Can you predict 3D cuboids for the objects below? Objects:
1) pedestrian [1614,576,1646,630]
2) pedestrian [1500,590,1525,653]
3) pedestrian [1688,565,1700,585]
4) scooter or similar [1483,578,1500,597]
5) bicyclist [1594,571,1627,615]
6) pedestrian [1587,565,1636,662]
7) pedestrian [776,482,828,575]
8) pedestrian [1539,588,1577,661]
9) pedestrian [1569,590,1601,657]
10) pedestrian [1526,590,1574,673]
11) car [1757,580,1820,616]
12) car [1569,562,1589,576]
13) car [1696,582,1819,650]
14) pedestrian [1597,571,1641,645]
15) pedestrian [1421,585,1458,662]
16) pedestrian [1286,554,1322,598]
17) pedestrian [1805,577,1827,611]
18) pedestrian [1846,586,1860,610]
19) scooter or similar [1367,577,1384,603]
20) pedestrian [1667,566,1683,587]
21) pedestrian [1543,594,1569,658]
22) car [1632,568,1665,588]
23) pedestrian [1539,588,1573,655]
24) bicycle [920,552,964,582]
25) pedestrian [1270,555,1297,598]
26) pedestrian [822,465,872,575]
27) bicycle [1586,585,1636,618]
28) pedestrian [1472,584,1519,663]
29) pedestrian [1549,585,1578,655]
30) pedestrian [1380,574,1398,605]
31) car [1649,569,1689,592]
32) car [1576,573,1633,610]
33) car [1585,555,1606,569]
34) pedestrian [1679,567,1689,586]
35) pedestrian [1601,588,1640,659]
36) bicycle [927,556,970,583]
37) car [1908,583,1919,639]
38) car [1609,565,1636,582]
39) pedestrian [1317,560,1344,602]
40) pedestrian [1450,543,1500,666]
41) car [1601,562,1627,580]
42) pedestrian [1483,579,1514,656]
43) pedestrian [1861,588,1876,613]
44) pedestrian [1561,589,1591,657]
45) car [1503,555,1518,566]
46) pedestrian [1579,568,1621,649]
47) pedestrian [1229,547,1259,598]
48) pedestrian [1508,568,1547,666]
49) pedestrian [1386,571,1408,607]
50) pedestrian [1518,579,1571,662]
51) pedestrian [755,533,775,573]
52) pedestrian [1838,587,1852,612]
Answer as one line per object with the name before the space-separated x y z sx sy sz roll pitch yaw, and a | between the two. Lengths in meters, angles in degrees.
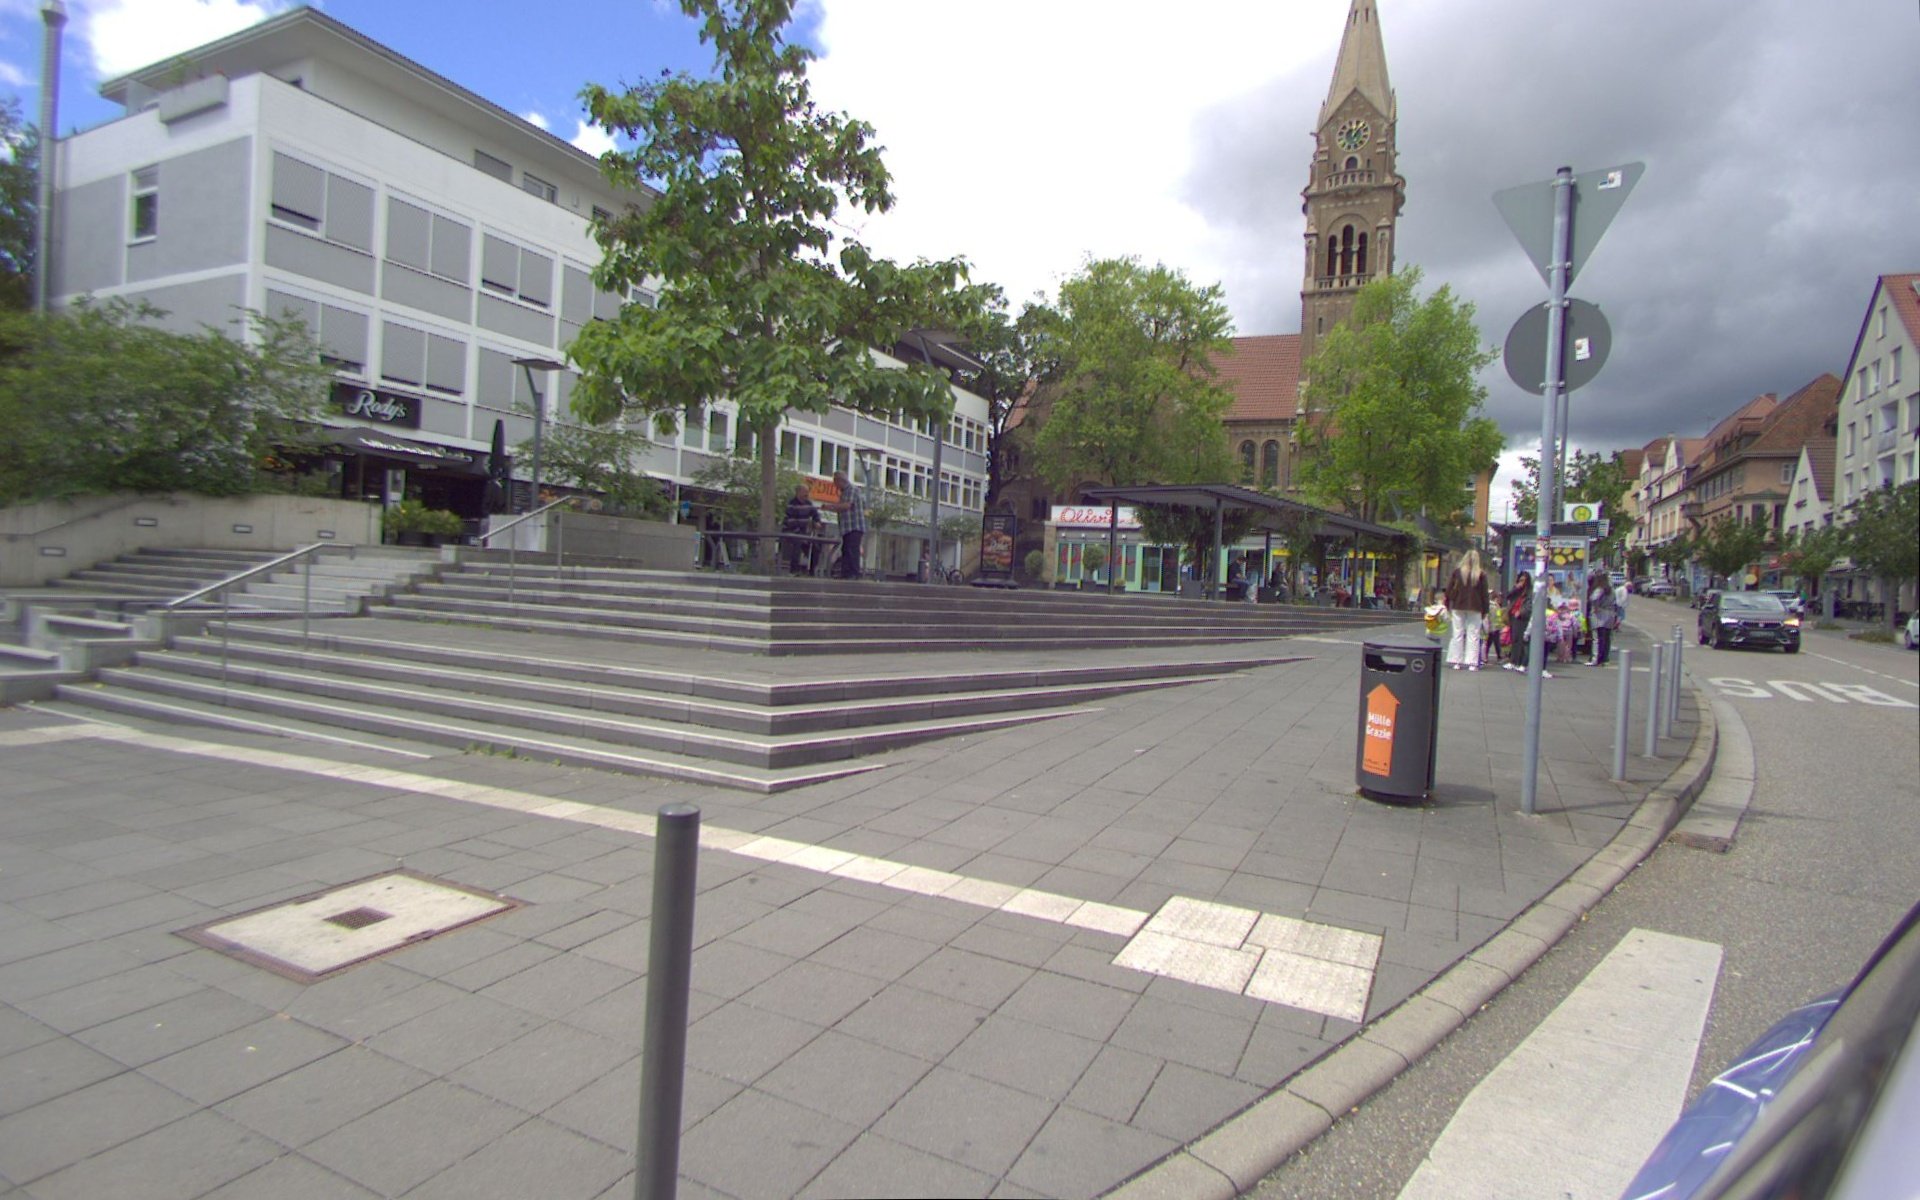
pedestrian | 21.772 0.087 32.898 0.685 1.702 0.703 4 2 43
pedestrian | 9.729 0.371 17.821 0.250 1.082 0.248 6 3 43
pedestrian | 60.582 -2.061 83.533 0.609 1.601 0.637 2 3 25
scooter or similar | 32.196 -0.772 61.317 0.811 1.085 0.552 5 4 39
bicyclist | 26.943 -0.296 41.917 0.763 1.715 0.510 8 1 -2
pedestrian | 11.332 0.231 17.620 0.459 1.639 0.389 3 2 -9
pedestrian | -2.290 -1.027 14.711 0.362 1.301 0.632 3 1 37
pedestrian | 10.170 0.414 17.213 0.329 1.180 0.351 3 4 1
pedestrian | 11.138 0.416 18.037 0.287 1.166 0.299 3 3 -17
pedestrian | 8.902 0.462 15.279 0.470 1.186 0.388 4 3 19
car | 40.738 -0.141 49.822 1.656 1.666 4.092 1 2 29
car | 67.146 -3.343 109.779 1.598 1.405 3.594 4 4 28
car | 21.808 0.370 27.838 1.877 1.542 3.703 1 4 27
pedestrian | 14.333 0.163 22.018 0.476 1.568 0.545 2 2 -13
pedestrian | 7.501 0.358 15.838 0.436 1.162 0.379 4 3 26
pedestrian | 10.292 -0.723 30.267 0.662 1.285 0.773 1 1 -16
pedestrian | 45.292 -0.324 53.565 0.655 1.782 0.772 2 3 25
pedestrian | 48.429 -0.120 54.878 0.392 1.265 0.495 2 2 27
scooter or similar | 14.935 -0.360 36.371 0.497 0.905 0.249 4 0 -27
pedestrian | 60.354 -2.000 85.466 0.864 1.686 0.899 2 3 25
pedestrian | 10.333 0.448 17.549 0.247 1.082 0.252 1 3 -41
car | 58.274 -1.900 85.706 1.652 1.544 3.932 1 3 25
pedestrian | 10.715 0.381 18.197 0.312 1.166 0.322 3 2 -7
bicycle | -0.858 -1.572 48.158 1.989 1.323 0.688 4 2 0
pedestrian | 9.508 -0.684 29.728 0.567 1.243 0.558 2 1 42
pedestrian | -1.608 -1.129 14.384 0.450 1.527 0.499 3 1 28
bicycle | 26.943 0.059 41.901 1.622 1.099 0.414 7 7 -3
pedestrian | 8.508 0.376 16.077 0.501 1.213 0.391 1 3 -32
pedestrian | 10.609 0.348 17.790 0.247 1.188 0.251 3 2 -9
pedestrian | 15.544 -0.380 36.703 0.475 1.102 0.363 3 0 37
car | 55.303 -1.581 78.980 1.713 1.592 4.420 2 4 25
car | 33.743 -0.491 53.081 1.916 1.745 4.533 4 3 26
car | 75.237 -4.478 119.890 1.675 1.542 3.498 3 4 26
pedestrian | 60.037 -1.950 83.909 0.492 1.495 0.524 2 3 25
pedestrian | 11.803 0.418 18.083 0.381 1.241 0.404 1 2 -35
bicycle | -0.559 -1.503 49.470 1.989 1.156 0.688 5 2 0
car | 29.032 0.376 28.990 1.647 1.692 4.308 1 2 28
car | 64.035 -2.561 97.877 1.716 1.448 3.473 2 4 26
pedestrian | 12.112 -0.632 33.085 0.622 1.323 0.539 4 2 37
pedestrian | 7.950 0.058 15.645 0.536 1.845 0.432 5 3 25
car | 67.354 -2.997 104.313 1.716 1.700 3.957 2 4 26
pedestrian | 8.943 0.285 16.807 0.322 1.252 0.330 6 4 36
pedestrian | 48.081 0.014 53.562 0.424 1.265 0.561 2 2 27
pedestrian | 10.877 0.400 17.873 0.259 1.174 0.272 3 2 -11
car | 78.512 -5.608 144.262 1.675 1.389 3.498 3 4 26
pedestrian | 12.878 0.165 20.364 0.494 1.585 0.496 3 2 13
pedestrian | 7.664 -0.745 27.298 0.567 1.340 0.537 2 1 42
pedestrian | 9.109 0.264 16.252 0.386 1.535 0.387 4 3 20
pedestrian | 16.025 -0.401 37.137 0.567 1.278 0.534 3 0 37
pedestrian | 9.795 0.335 16.980 0.425 1.319 0.600 3 3 -1
pedestrian | -6.798 -1.633 35.293 0.559 1.340 0.544 1 1 6
pedestrian | 47.212 -0.015 53.978 0.418 1.316 0.450 2 2 27
